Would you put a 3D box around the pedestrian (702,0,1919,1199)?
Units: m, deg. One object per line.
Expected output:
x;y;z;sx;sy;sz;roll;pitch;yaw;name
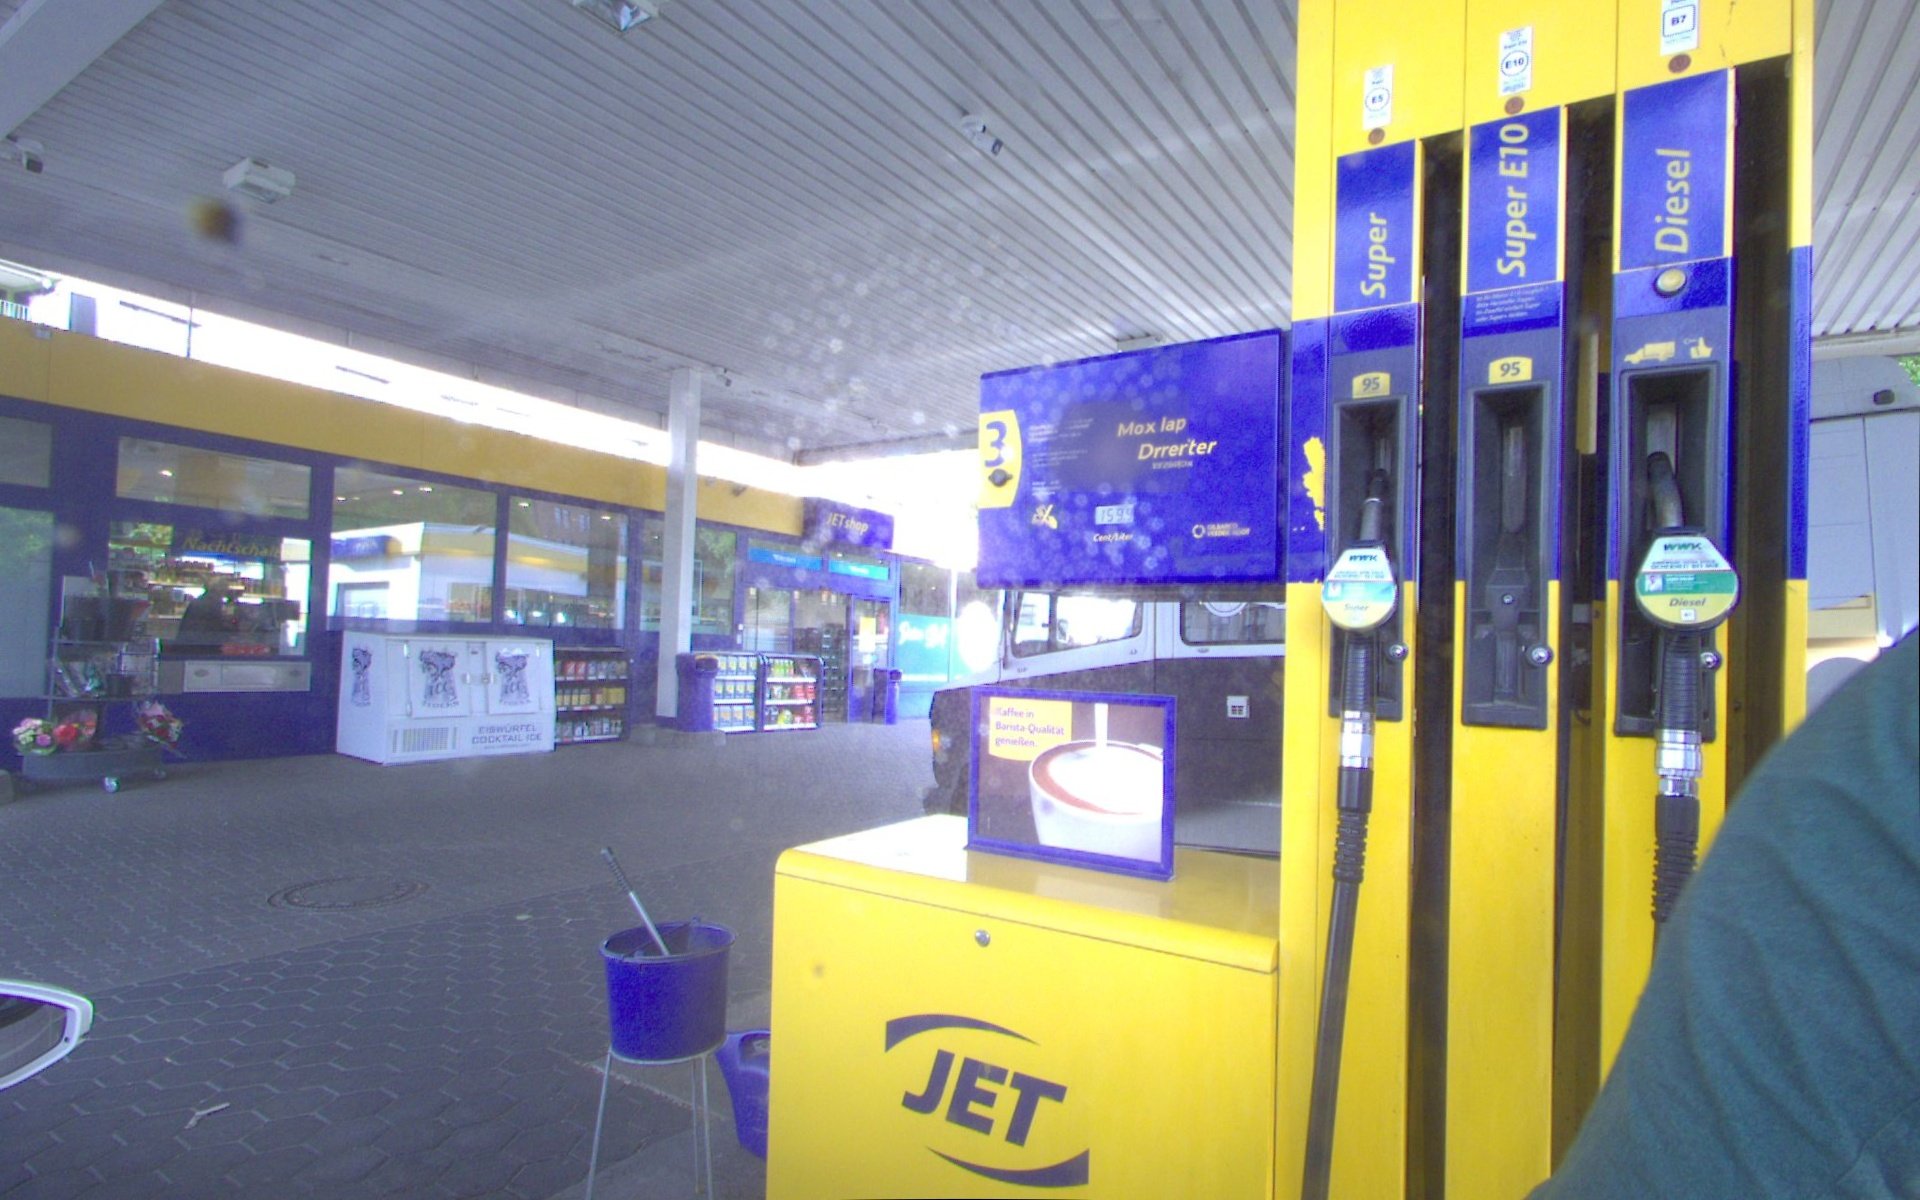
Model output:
0.662;0.555;0.455;1.167;1.750;0.988;-2;-2;35;pedestrian

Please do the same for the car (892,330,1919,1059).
2.352;0.436;6.008;5.271;2.759;2.193;-1;-3;34;car
